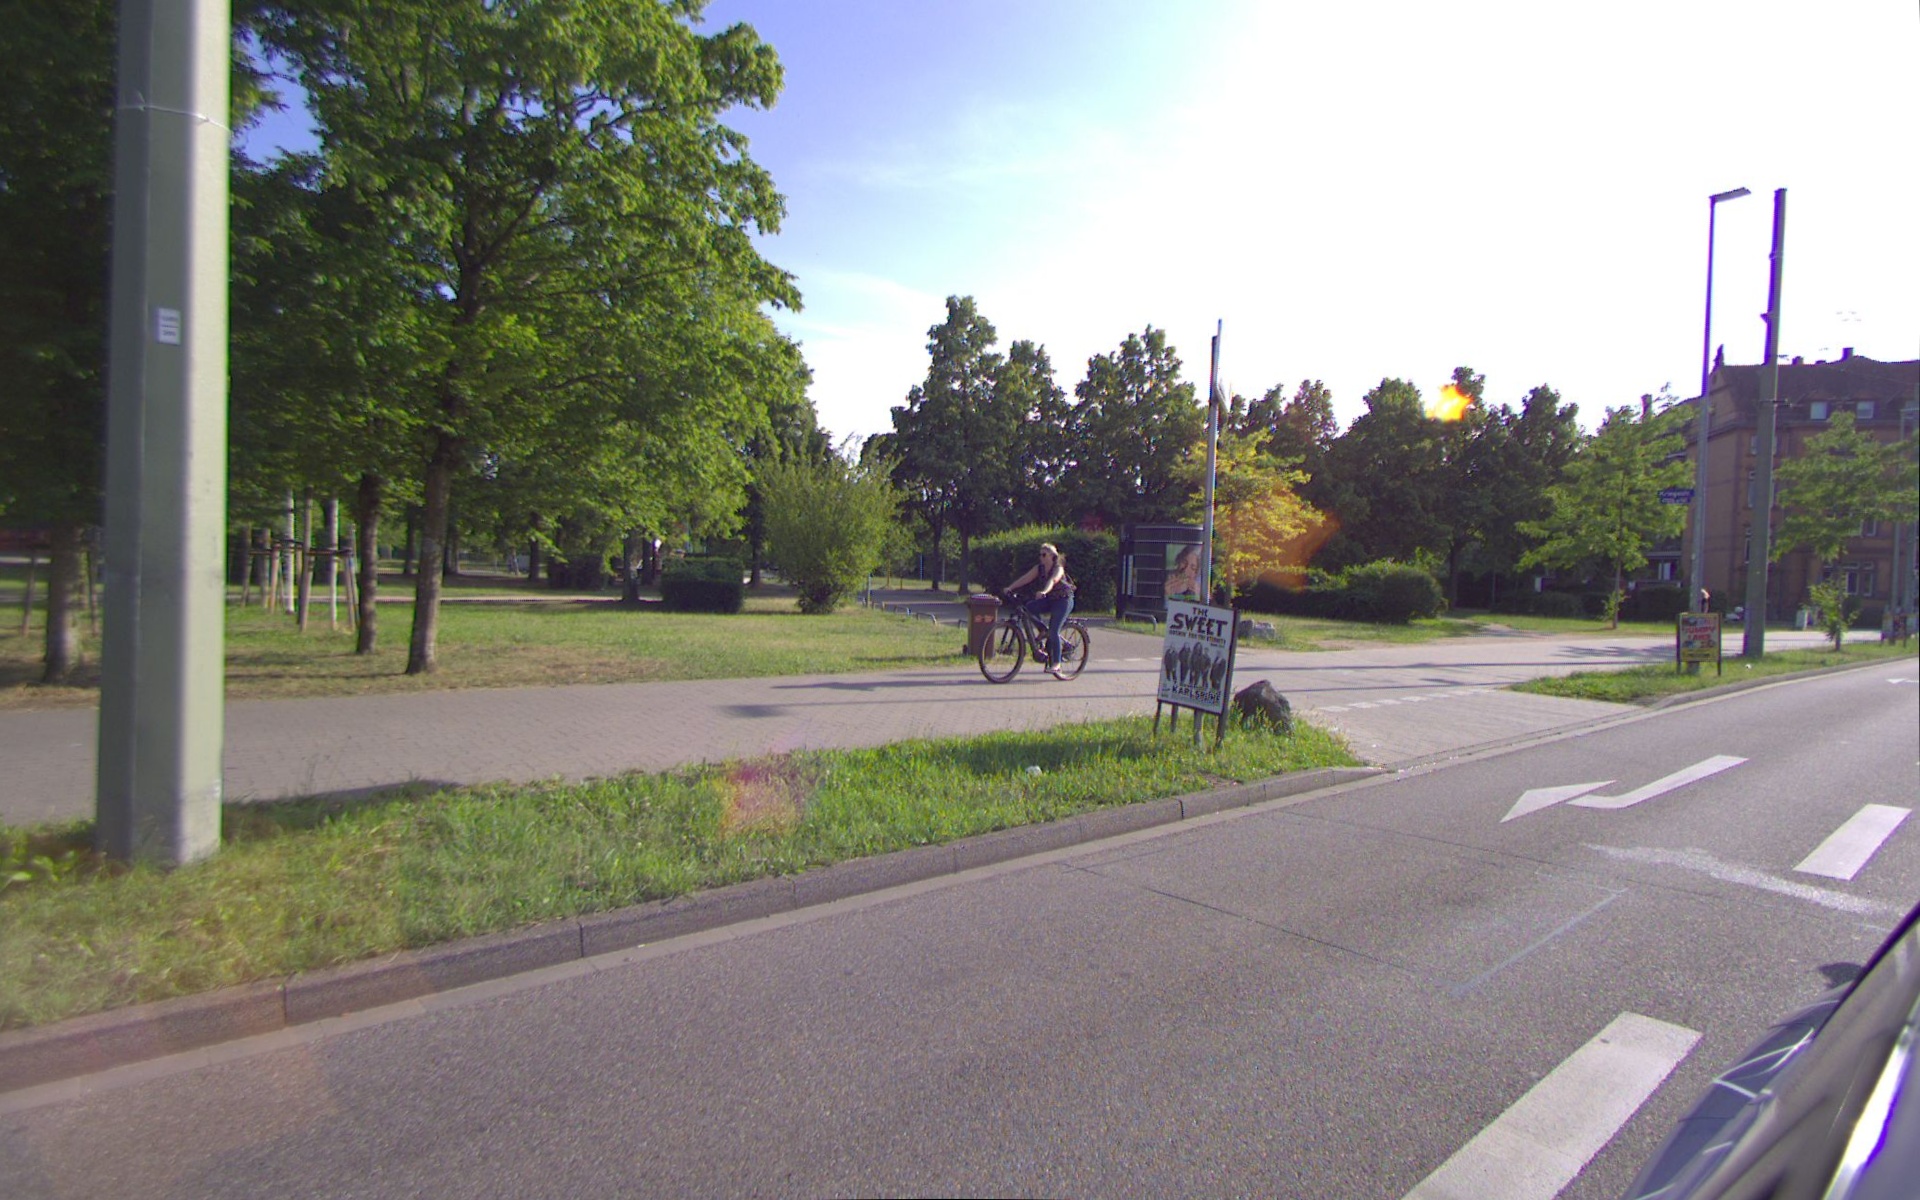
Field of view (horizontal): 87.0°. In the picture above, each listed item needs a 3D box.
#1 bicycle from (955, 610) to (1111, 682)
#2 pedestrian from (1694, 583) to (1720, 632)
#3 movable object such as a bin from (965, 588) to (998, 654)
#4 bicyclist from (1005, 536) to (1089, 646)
[{"bbox_3d":[0.924,0.522,12.226,2.130,0.766,0.496,0,3,-41],"label":"bicycle"},{"bbox_3d":[26.352,0.253,35.705,0.607,1.706,0.621,1,0,-41],"label":"pedestrian"},{"bbox_3d":[0.308,0.298,14.820,0.447,0.929,0.605,2,2,1],"label":"movable object such as a bin"},{"bbox_3d":[1.059,-0.110,12.256,0.853,1.278,0.535,1,2,-41],"label":"bicyclist"}]
